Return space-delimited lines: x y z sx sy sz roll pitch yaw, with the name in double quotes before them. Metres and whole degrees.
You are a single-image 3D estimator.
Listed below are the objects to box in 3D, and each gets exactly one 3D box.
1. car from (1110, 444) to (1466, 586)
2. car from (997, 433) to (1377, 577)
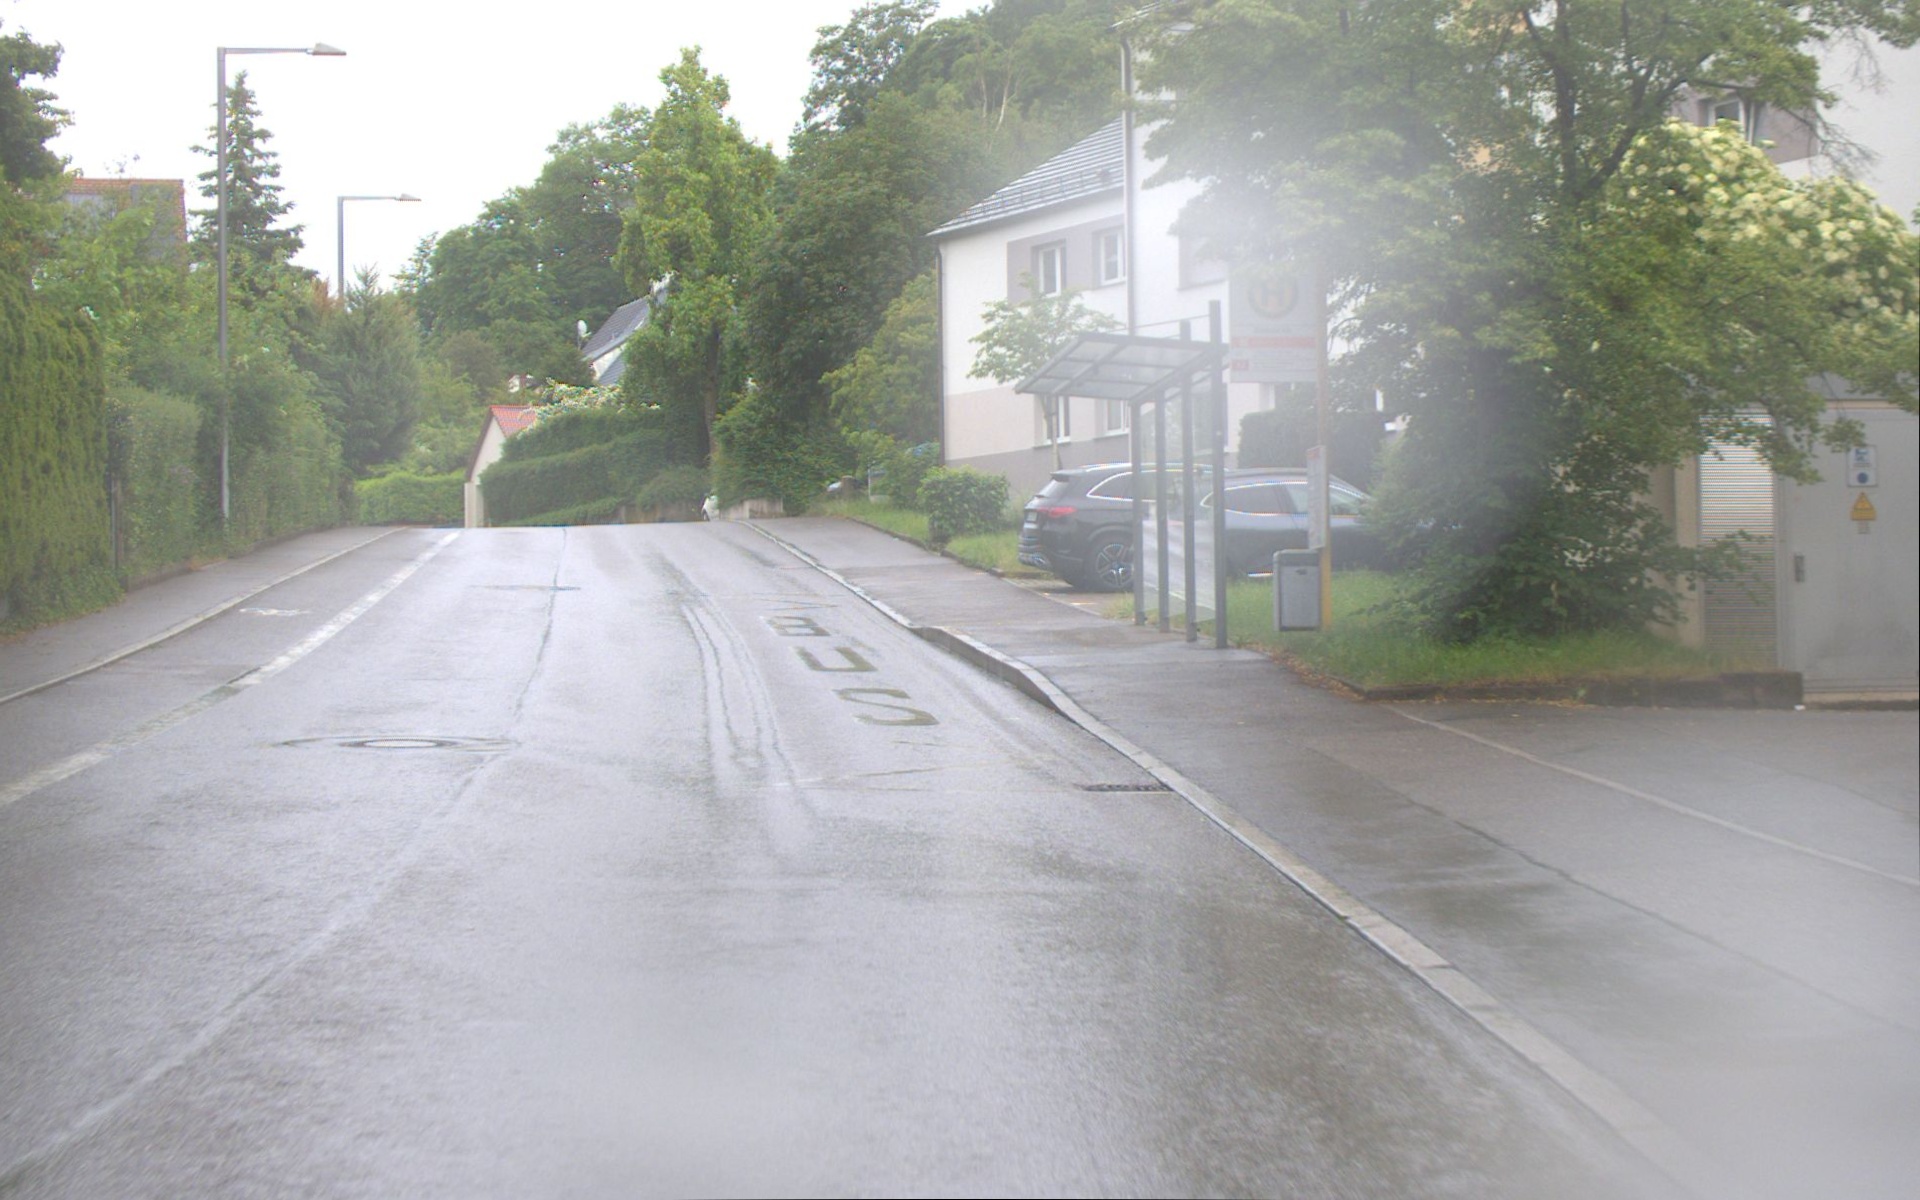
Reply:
"car" 3.719 -0.992 39.292 3.742 1.453 1.725 -2 3 -7
"car" 2.905 -1.252 44.399 4.524 1.654 1.857 -2 3 -12
